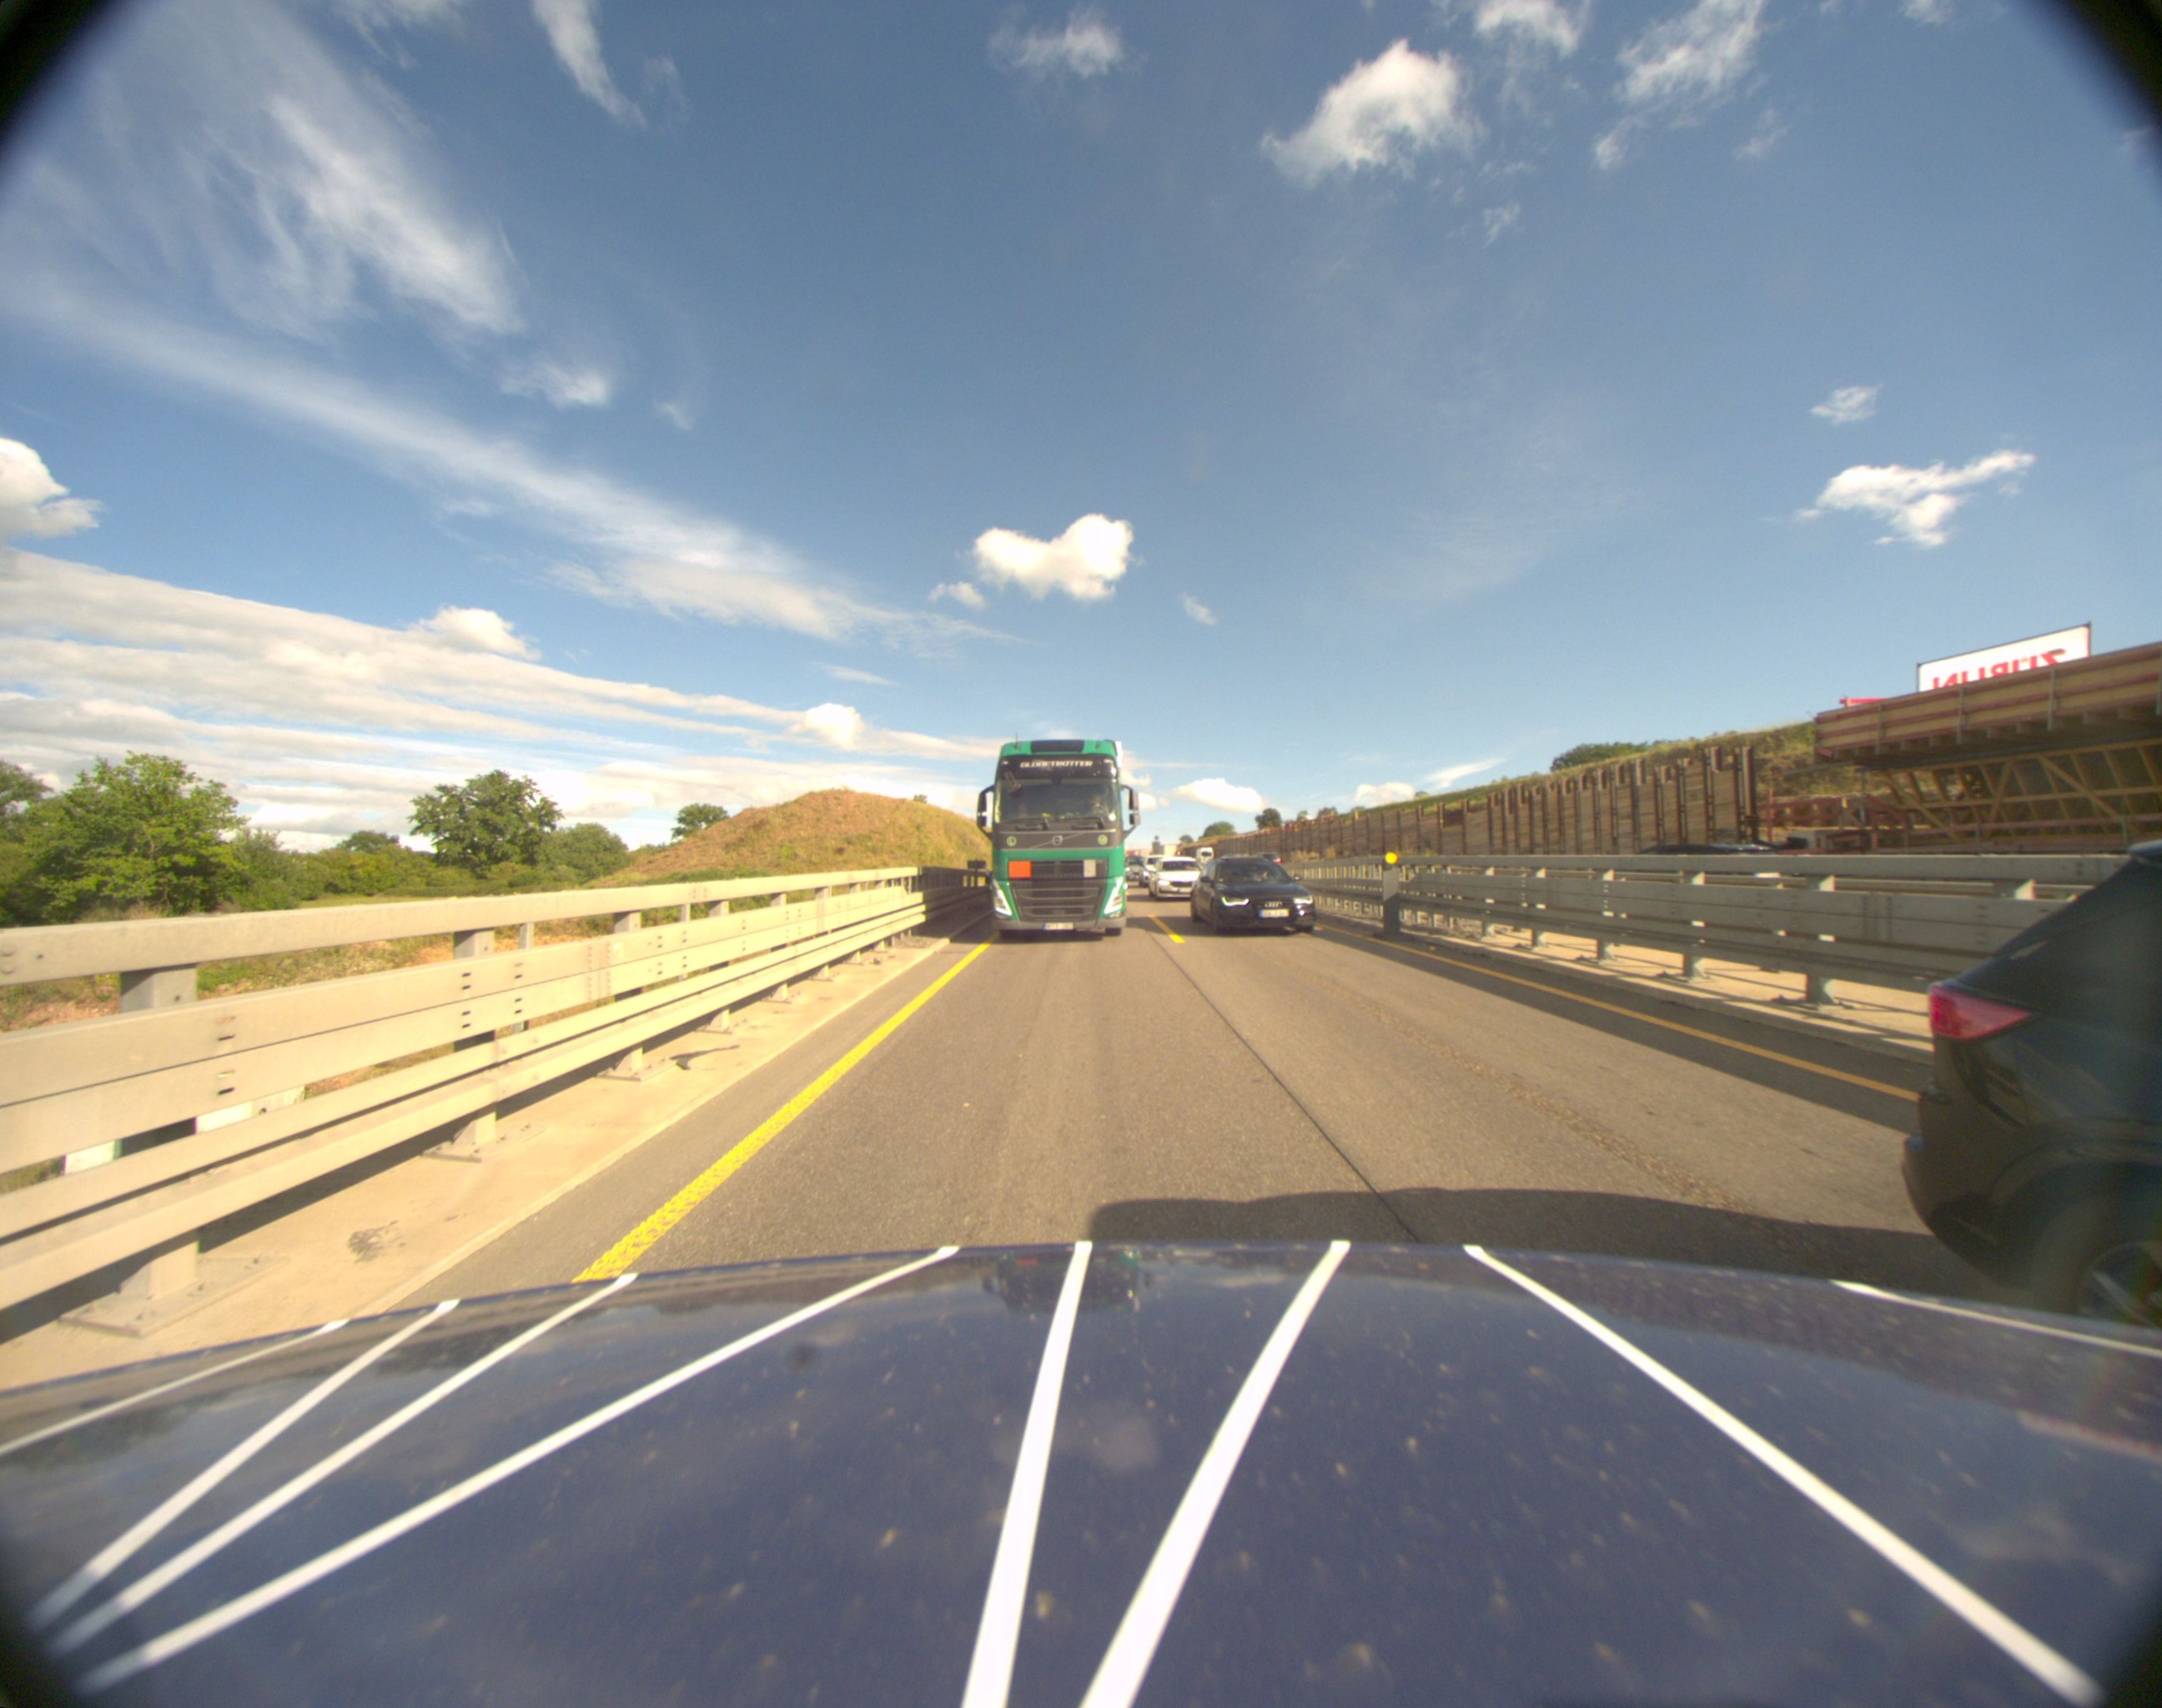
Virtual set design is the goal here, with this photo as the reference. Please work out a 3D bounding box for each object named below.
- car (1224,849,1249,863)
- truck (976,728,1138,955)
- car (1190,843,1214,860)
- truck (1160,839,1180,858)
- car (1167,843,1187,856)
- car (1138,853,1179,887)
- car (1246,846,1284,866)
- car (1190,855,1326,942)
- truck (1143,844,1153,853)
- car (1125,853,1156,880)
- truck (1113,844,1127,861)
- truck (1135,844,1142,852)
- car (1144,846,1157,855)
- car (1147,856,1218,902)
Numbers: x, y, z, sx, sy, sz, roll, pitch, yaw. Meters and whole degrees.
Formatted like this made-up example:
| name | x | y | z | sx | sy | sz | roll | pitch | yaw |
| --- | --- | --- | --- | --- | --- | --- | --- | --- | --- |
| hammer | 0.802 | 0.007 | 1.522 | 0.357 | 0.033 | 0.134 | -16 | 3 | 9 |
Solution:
| name | x | y | z | sx | sy | sz | roll | pitch | yaw |
| --- | --- | --- | --- | --- | --- | --- | --- | --- | --- |
| car | 17.685 | 0.230 | 86.494 | 1.949 | 1.422 | 4.407 | -3 | 1 | 0 |
| truck | -0.351 | -0.290 | 18.245 | 2.663 | 3.825 | 10.316 | -2 | 1 | 1 |
| car | 17.991 | -0.421 | 113.159 | 2.572 | 2.329 | 6.404 | -2 | 1 | 0 |
| truck | 19.230 | -1.218 | 164.216 | 3.178 | 3.843 | 8.233 | -2 | 1 | 0 |
| car | 18.078 | -0.805 | 143.541 | 2.887 | 2.329 | 6.404 | -2 | 1 | 0 |
| car | 3.799 | 0.743 | 37.777 | 1.659 | 1.510 | 3.999 | -2 | 1 | 1 |
| car | 14.568 | 0.127 | 60.419 | 1.949 | 1.422 | 4.407 | -3 | 1 | 0 |
| car | 3.462 | 0.792 | 15.731 | 1.948 | 1.422 | 4.505 | -1 | 1 | 2 |
| truck | 20.541 | -1.709 | 232.409 | 2.383 | 2.503 | 6.553 | -2 | 1 | 1 |
| car | 3.682 | 0.745 | 47.595 | 1.659 | 1.510 | 3.999 | -2 | 1 | 1 |
| truck | 9.067 | -0.392 | 177.075 | 2.663 | 3.825 | 10.316 | -2 | 1 | 1 |
| truck | 19.446 | -1.926 | 256.810 | 1.998 | 2.503 | 6.553 | -2 | 1 | 1 |
| car | 18.644 | -0.981 | 202.825 | 2.887 | 2.329 | 6.404 | -2 | 1 | 0 |
| car | 3.480 | 0.815 | 26.848 | 1.949 | 1.422 | 4.408 | -2 | 0 | 1 |
